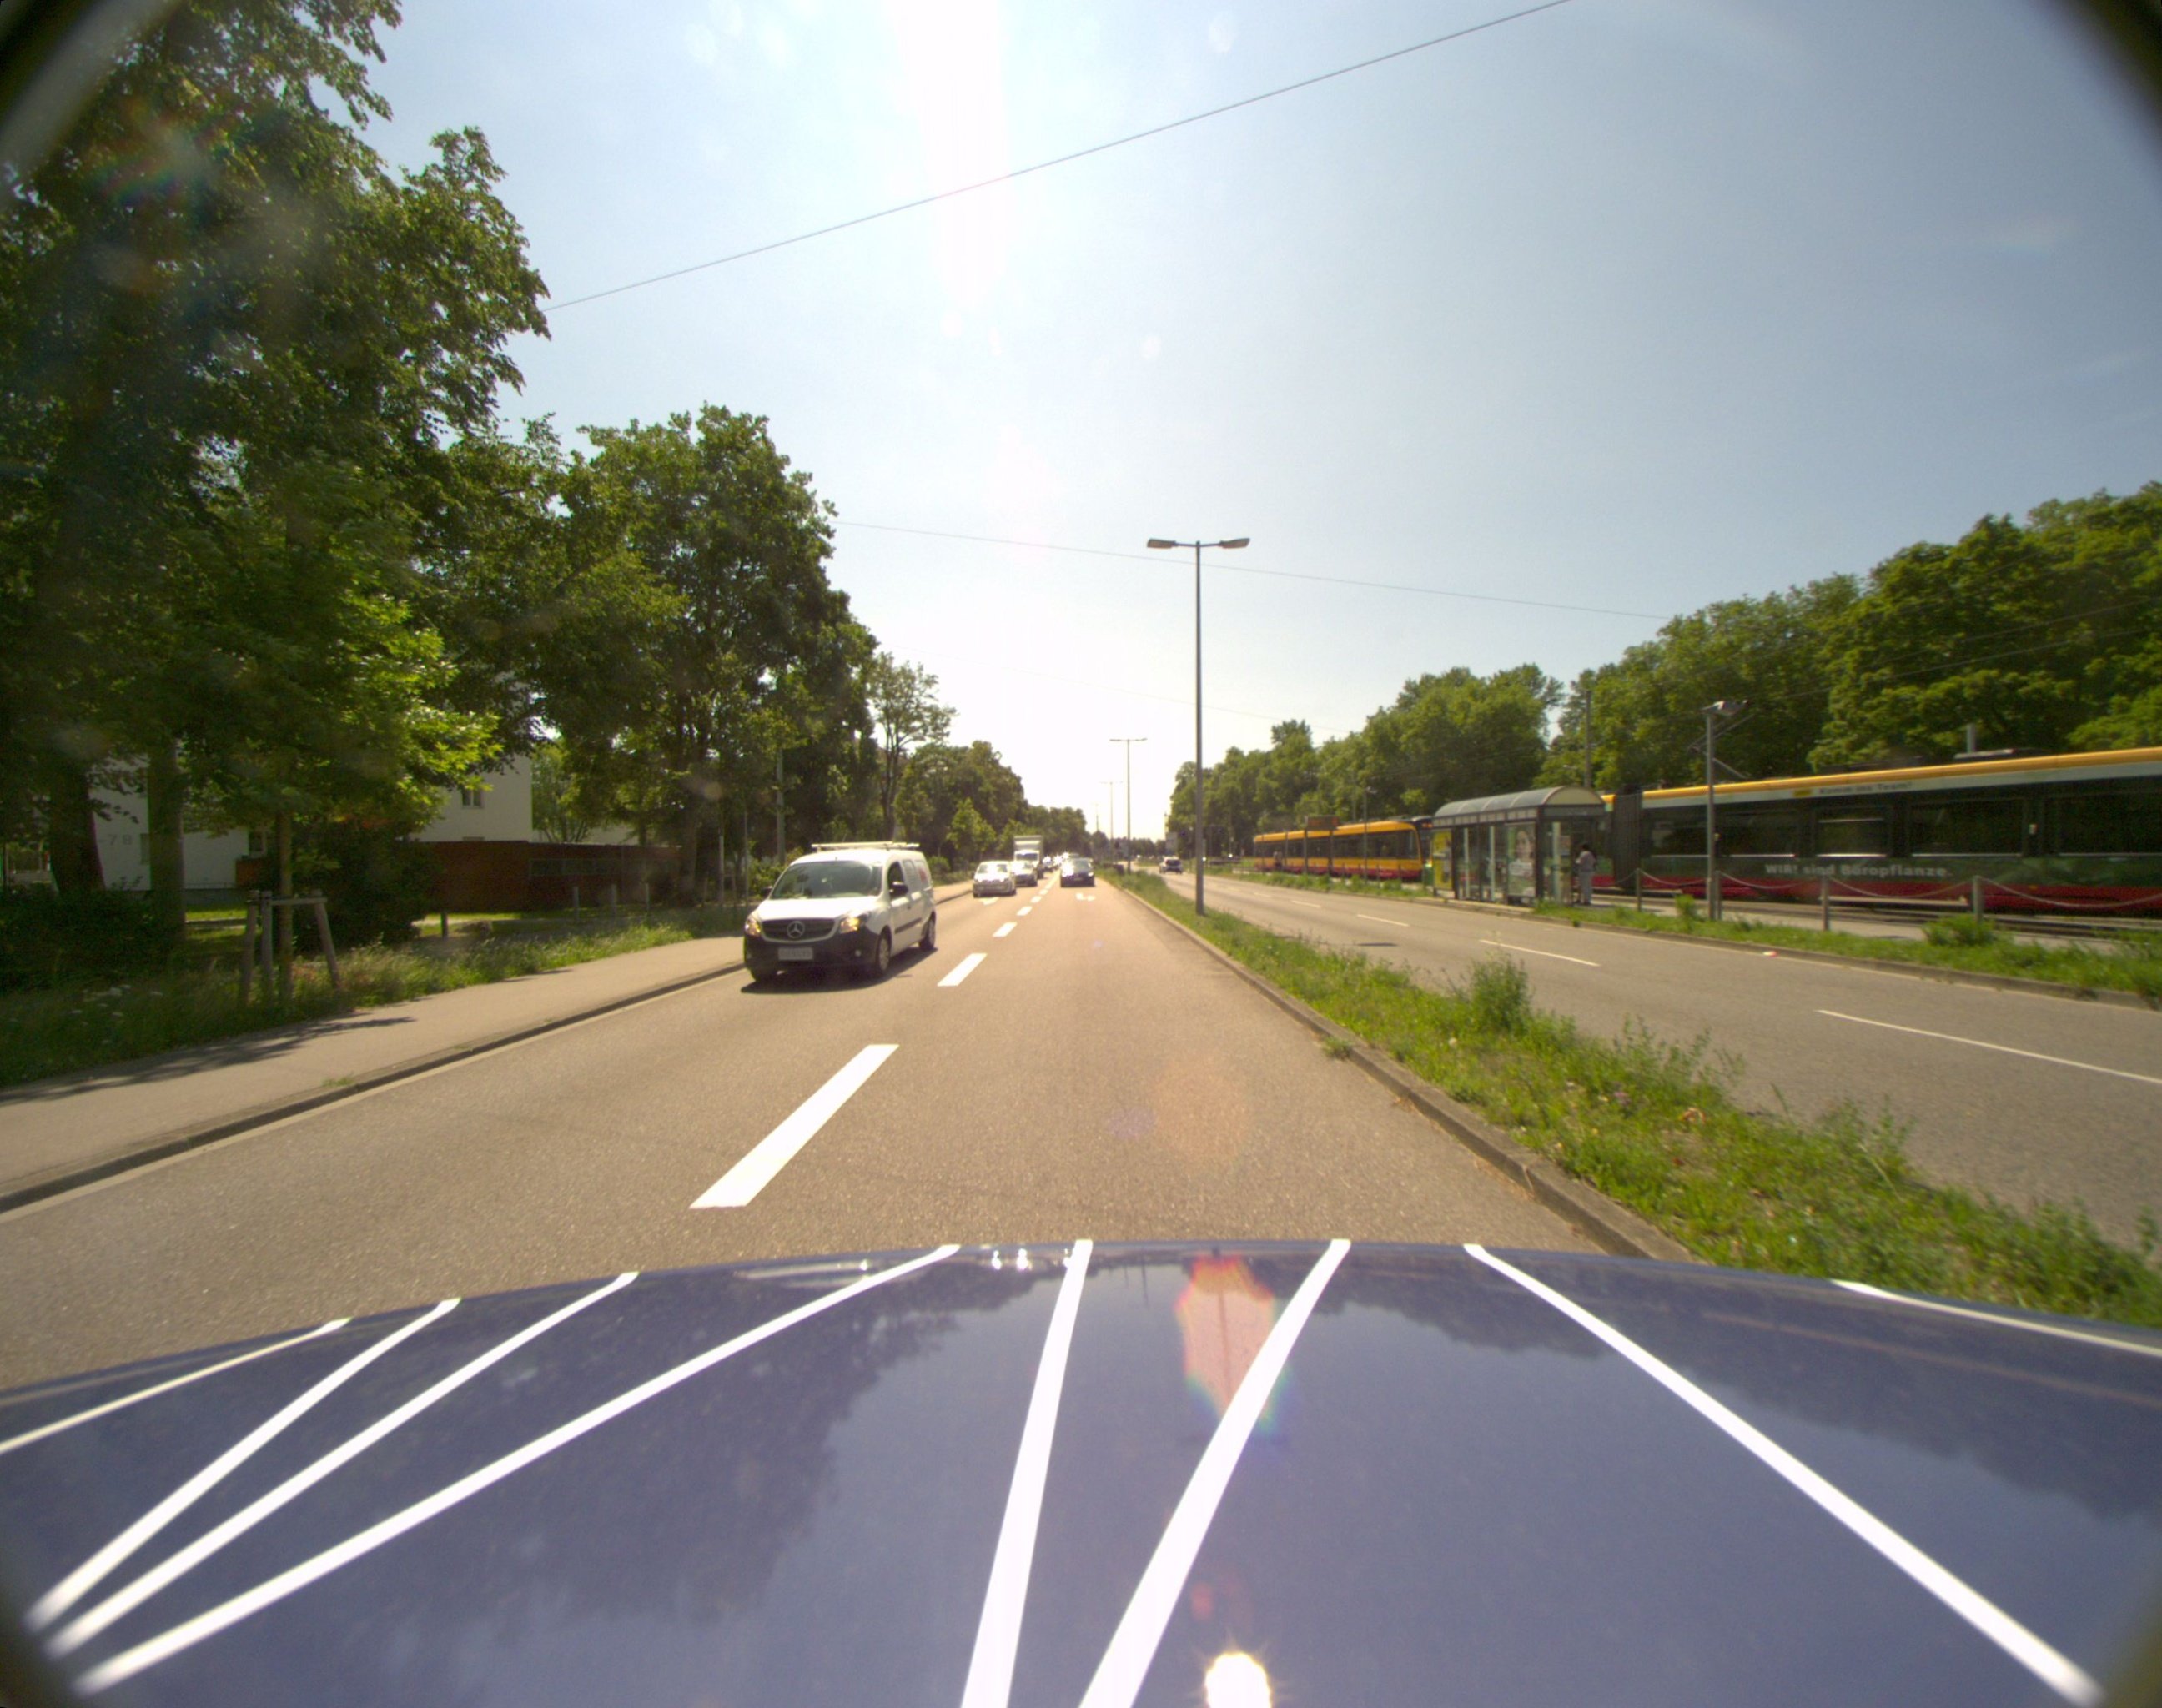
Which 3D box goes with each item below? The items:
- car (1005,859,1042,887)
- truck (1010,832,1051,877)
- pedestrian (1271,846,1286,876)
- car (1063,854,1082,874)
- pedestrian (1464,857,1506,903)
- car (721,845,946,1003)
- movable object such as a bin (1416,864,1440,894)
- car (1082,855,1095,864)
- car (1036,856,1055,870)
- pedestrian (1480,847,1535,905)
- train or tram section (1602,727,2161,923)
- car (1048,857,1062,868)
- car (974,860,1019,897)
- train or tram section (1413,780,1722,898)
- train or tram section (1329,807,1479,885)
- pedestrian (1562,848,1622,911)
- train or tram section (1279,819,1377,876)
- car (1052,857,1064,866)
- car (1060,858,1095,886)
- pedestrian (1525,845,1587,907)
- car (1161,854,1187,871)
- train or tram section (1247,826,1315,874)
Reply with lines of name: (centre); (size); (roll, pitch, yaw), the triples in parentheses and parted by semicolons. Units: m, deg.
car: (-3.144, 1.031, 42.300); (1.618, 1.373, 4.115); (-2, 0, 1)
truck: (-3.821, 0.026, 59.004); (2.490, 3.276, 6.605); (-1, 0, 2)
pedestrian: (12.196, 0.436, 46.920); (0.633, 1.780, 0.776); (-2, 1, -2)
car: (-0.780, 0.899, 72.418); (1.746, 1.840, 3.887); (-1, 0, 1)
pedestrian: (11.581, 0.739, 21.824); (0.703, 1.276, 0.840); (-2, 0, -2)
car: (-3.460, 0.856, 11.784); (1.809, 1.845, 5.082); (-2, 0, -1)
movable object such as a bin: (11.874, 0.854, 26.004); (0.483, 0.972, 0.645); (-1, 1, -4)
car: (1.324, 0.955, 129.359); (1.745, 1.382, 3.889); (-1, 0, 6)
car: (-3.729, 0.945, 80.979); (1.746, 1.382, 3.887); (-1, 0, 1)
pedestrian: (11.690, 0.592, 20.864); (0.876, 1.537, 1.026); (-2, 0, -2)
train or tram section: (20.054, -0.539, 19.086); (3.055, 3.603, 12.436); (-2, 0, -15)
car: (-3.356, 1.098, 99.106); (1.618, 1.373, 4.115); (-2, 0, 1)
car: (-3.630, 1.026, 33.170); (1.626, 1.433, 3.498); (-2, 0, -2)
train or tram section: (18.304, -0.465, 30.767); (3.052, 3.603, 13.894); (-2, 0, -2)
train or tram section: (18.218, -0.379, 44.420); (3.051, 3.745, 13.261); (-2, 0, 0)
pedestrian: (12.706, 0.612, 18.920); (0.837, 1.499, 0.879); (-2, 0, -2)
train or tram section: (18.229, -0.422, 57.334); (3.051, 3.719, 12.594); (-2, 0, 0)
car: (-3.563, 1.116, 117.170); (1.746, 1.382, 3.887); (-1, 0, 1)
car: (-0.145, 0.923, 40.480); (1.746, 1.382, 3.887); (-1, 0, 1)
pedestrian: (12.393, 0.557, 19.839); (0.933, 1.537, 0.985); (-2, 0, -2)
car: (8.400, 0.759, 69.084); (1.774, 1.496, 3.719); (-1, 0, -2)
train or tram section: (18.000, -0.327, 69.396); (2.957, 3.833, 11.539); (-2, 0, -1)
